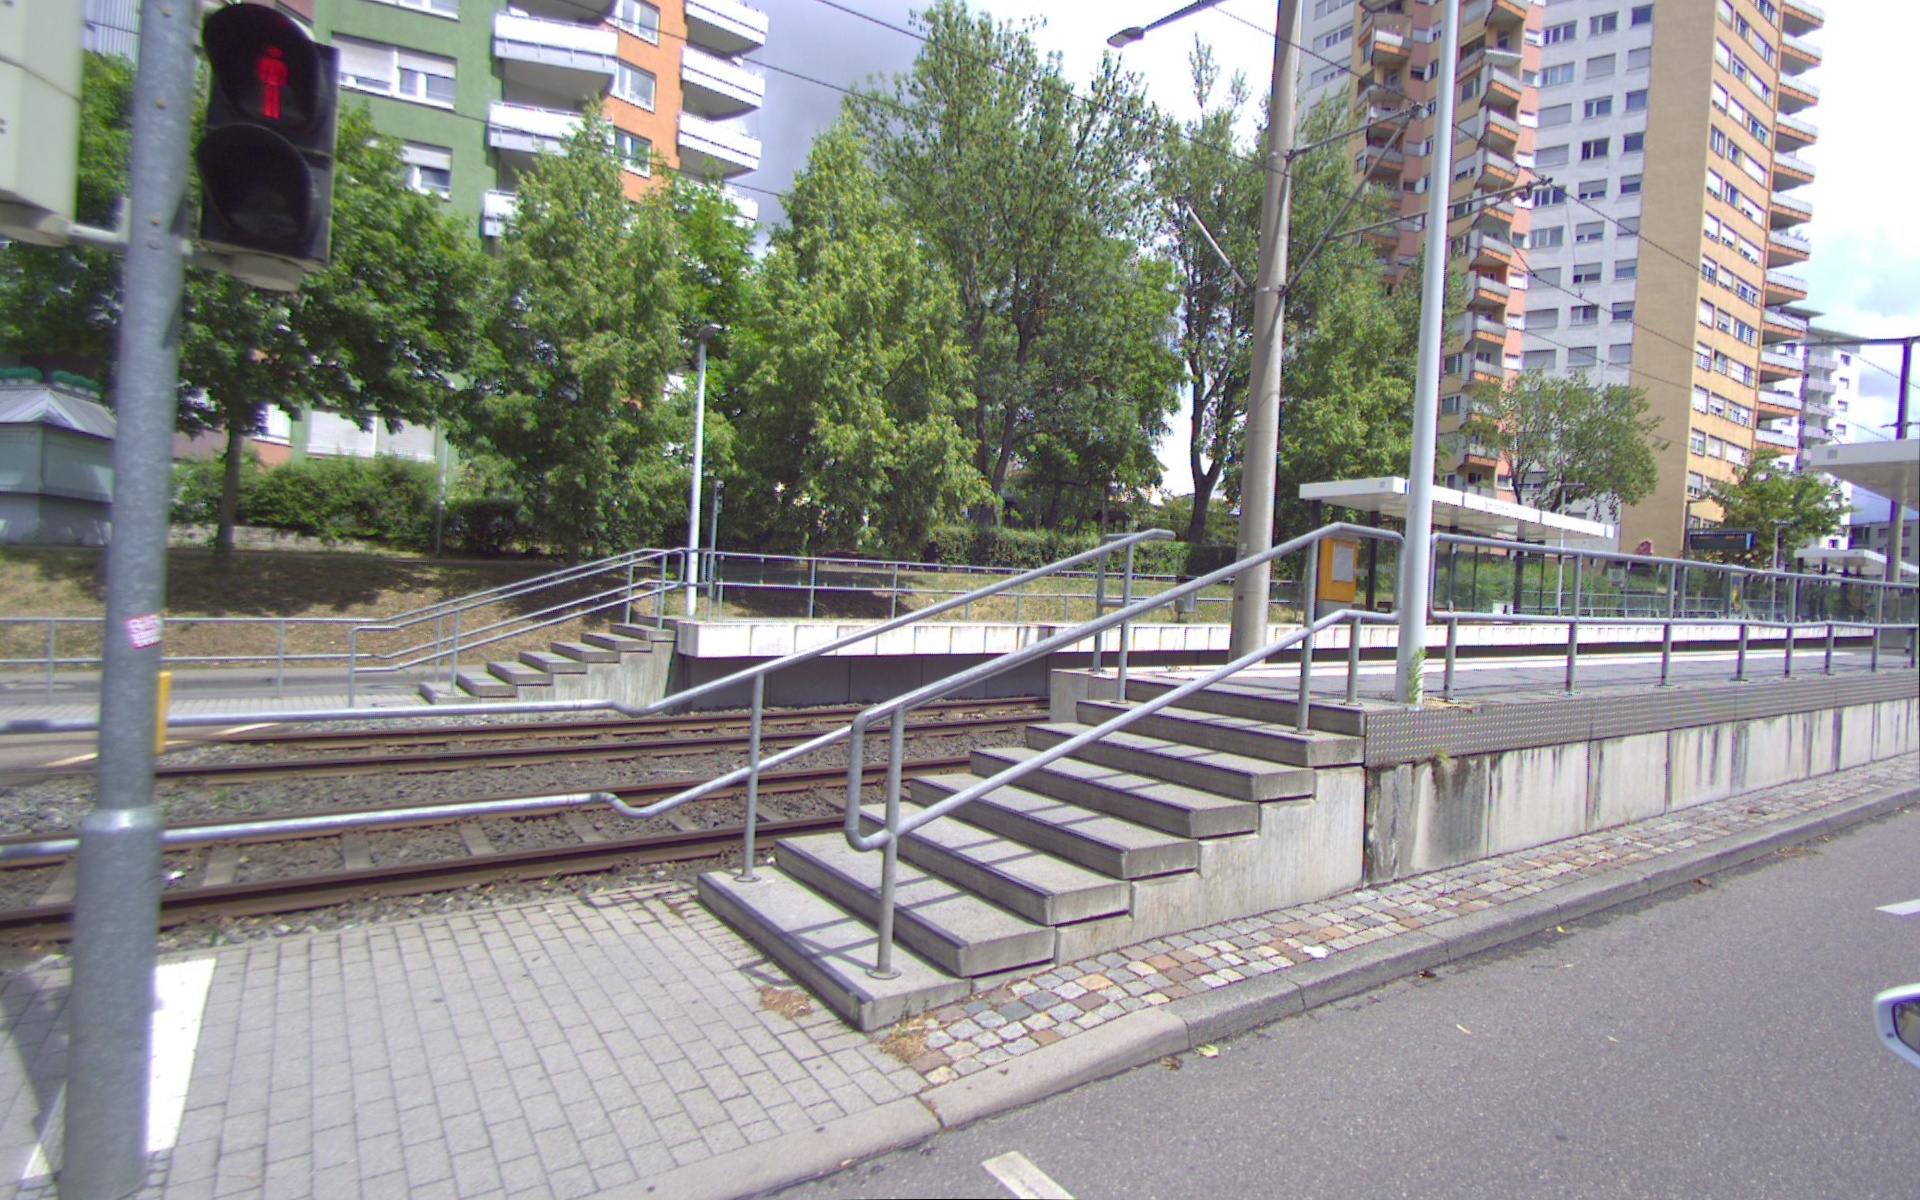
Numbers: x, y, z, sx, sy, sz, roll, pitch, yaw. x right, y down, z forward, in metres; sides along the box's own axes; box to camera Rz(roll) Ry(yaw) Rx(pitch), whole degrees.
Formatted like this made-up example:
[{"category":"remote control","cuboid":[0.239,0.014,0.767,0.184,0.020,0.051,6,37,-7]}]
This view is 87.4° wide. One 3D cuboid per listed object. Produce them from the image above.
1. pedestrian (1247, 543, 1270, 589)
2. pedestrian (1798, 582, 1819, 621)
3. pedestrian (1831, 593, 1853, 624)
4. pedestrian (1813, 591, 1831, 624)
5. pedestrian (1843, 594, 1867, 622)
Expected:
[{"category":"pedestrian","cuboid":[11.557,-1.318,38.897,0.499,1.735,0.645,1,0,-36]},{"category":"pedestrian","cuboid":[36.504,0.078,43.218,0.511,1.666,0.564,1,0,21]},{"category":"pedestrian","cuboid":[40.082,0.383,45.632,0.502,1.387,0.639,1,0,-36]},{"category":"pedestrian","cuboid":[37.158,0.333,43.311,0.536,1.397,0.518,1,-3,45]},{"category":"pedestrian","cuboid":[40.946,0.358,45.965,0.513,1.253,0.737,1,0,-36]}]
